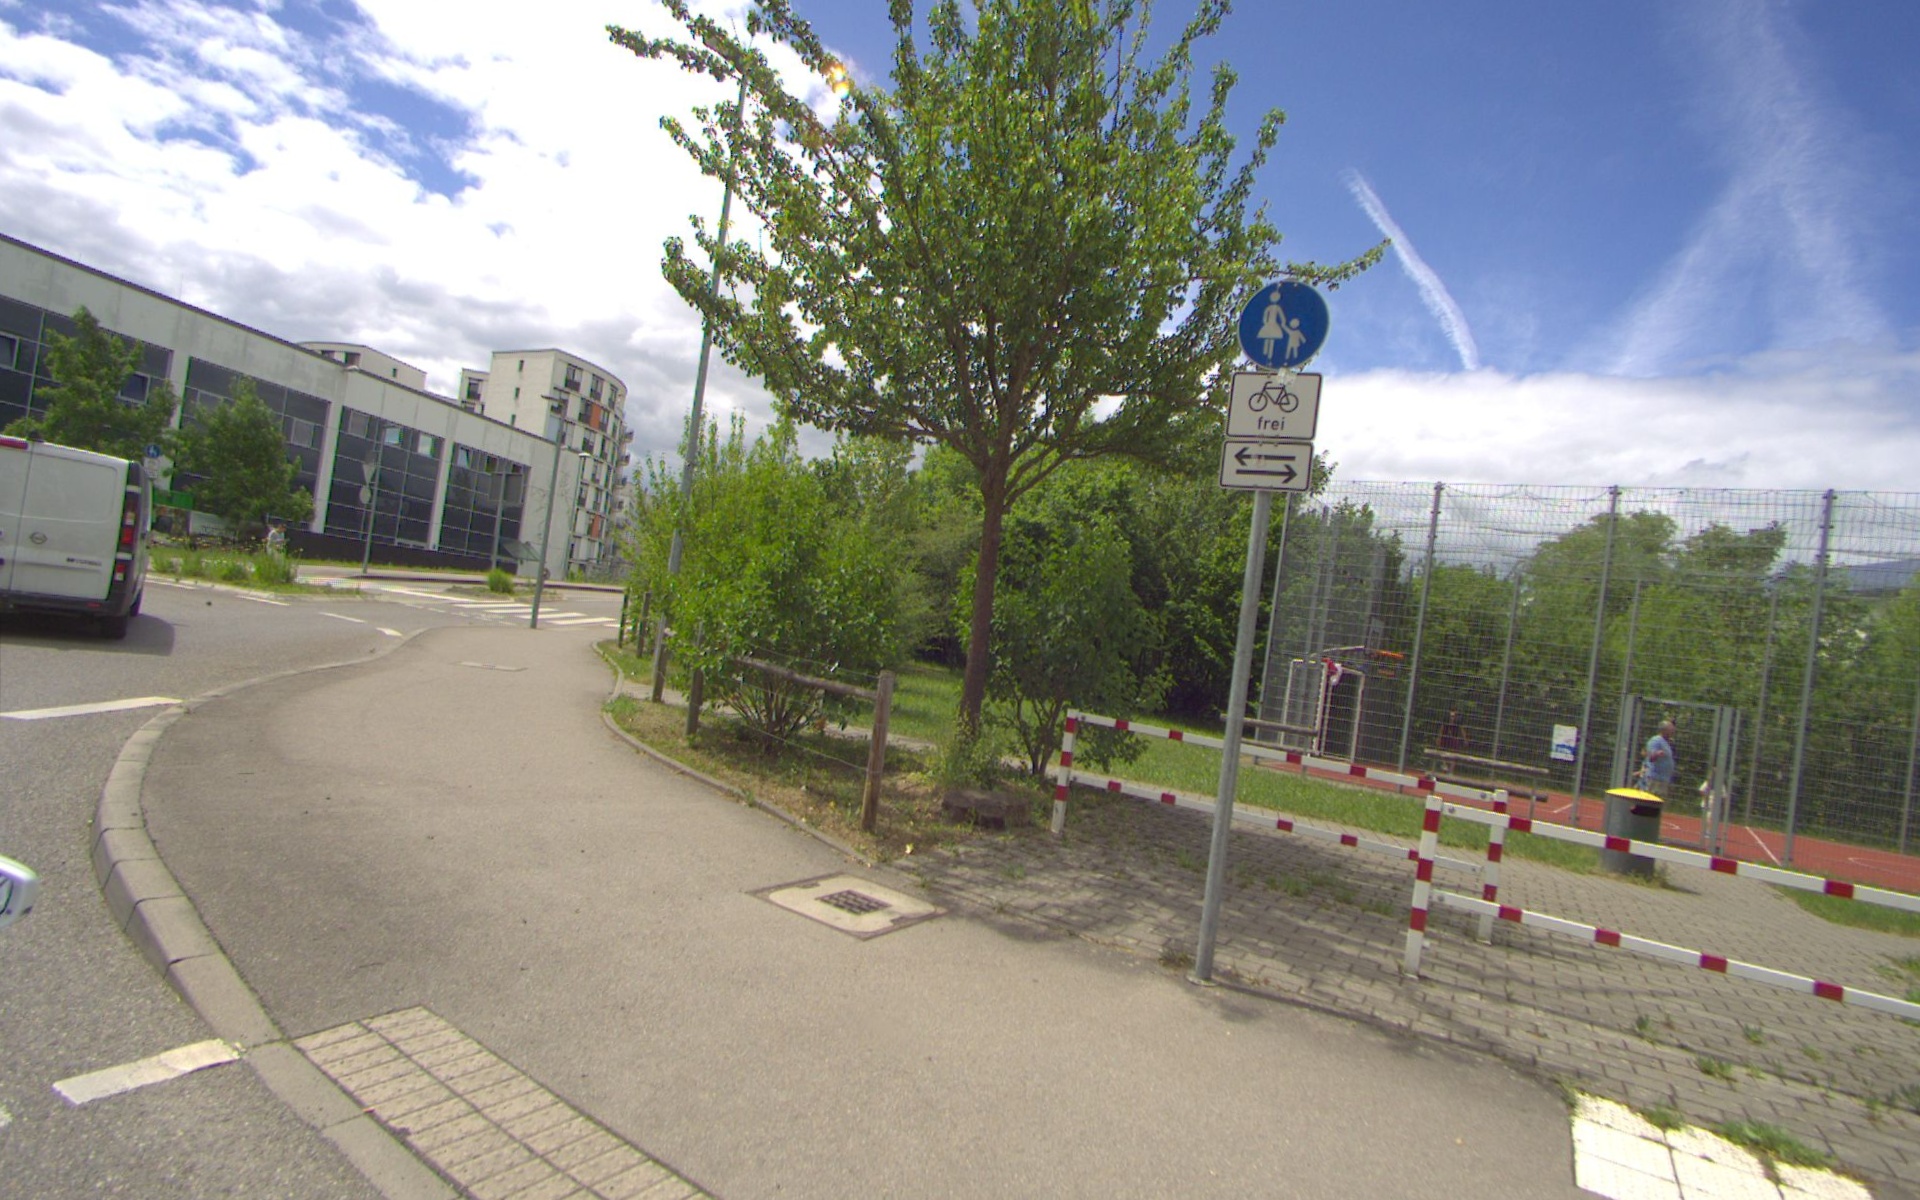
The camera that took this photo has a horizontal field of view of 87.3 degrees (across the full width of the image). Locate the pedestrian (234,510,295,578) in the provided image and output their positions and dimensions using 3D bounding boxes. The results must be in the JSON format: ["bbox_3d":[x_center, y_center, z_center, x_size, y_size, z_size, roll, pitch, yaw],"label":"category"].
[{"bbox_3d":[-18.128,-1.435,26.253,1.027,1.557,0.888,10,-3,-31],"label":"pedestrian"}]

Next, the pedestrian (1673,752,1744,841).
[{"bbox_3d":[12.814,3.353,17.242,0.784,1.361,0.462,7,-3,26],"label":"pedestrian"}]

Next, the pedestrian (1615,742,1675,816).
[{"bbox_3d":[14.285,3.727,20.999,0.457,1.361,0.794,10,-3,-26],"label":"pedestrian"}]

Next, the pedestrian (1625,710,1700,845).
[{"bbox_3d":[10.504,2.634,15.048,0.740,1.859,0.552,6,-3,36],"label":"pedestrian"}]

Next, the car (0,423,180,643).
[{"bbox_3d":[-10.679,-0.788,11.766,2.026,1.966,4.947,11,-4,-36],"label":"car"}]
